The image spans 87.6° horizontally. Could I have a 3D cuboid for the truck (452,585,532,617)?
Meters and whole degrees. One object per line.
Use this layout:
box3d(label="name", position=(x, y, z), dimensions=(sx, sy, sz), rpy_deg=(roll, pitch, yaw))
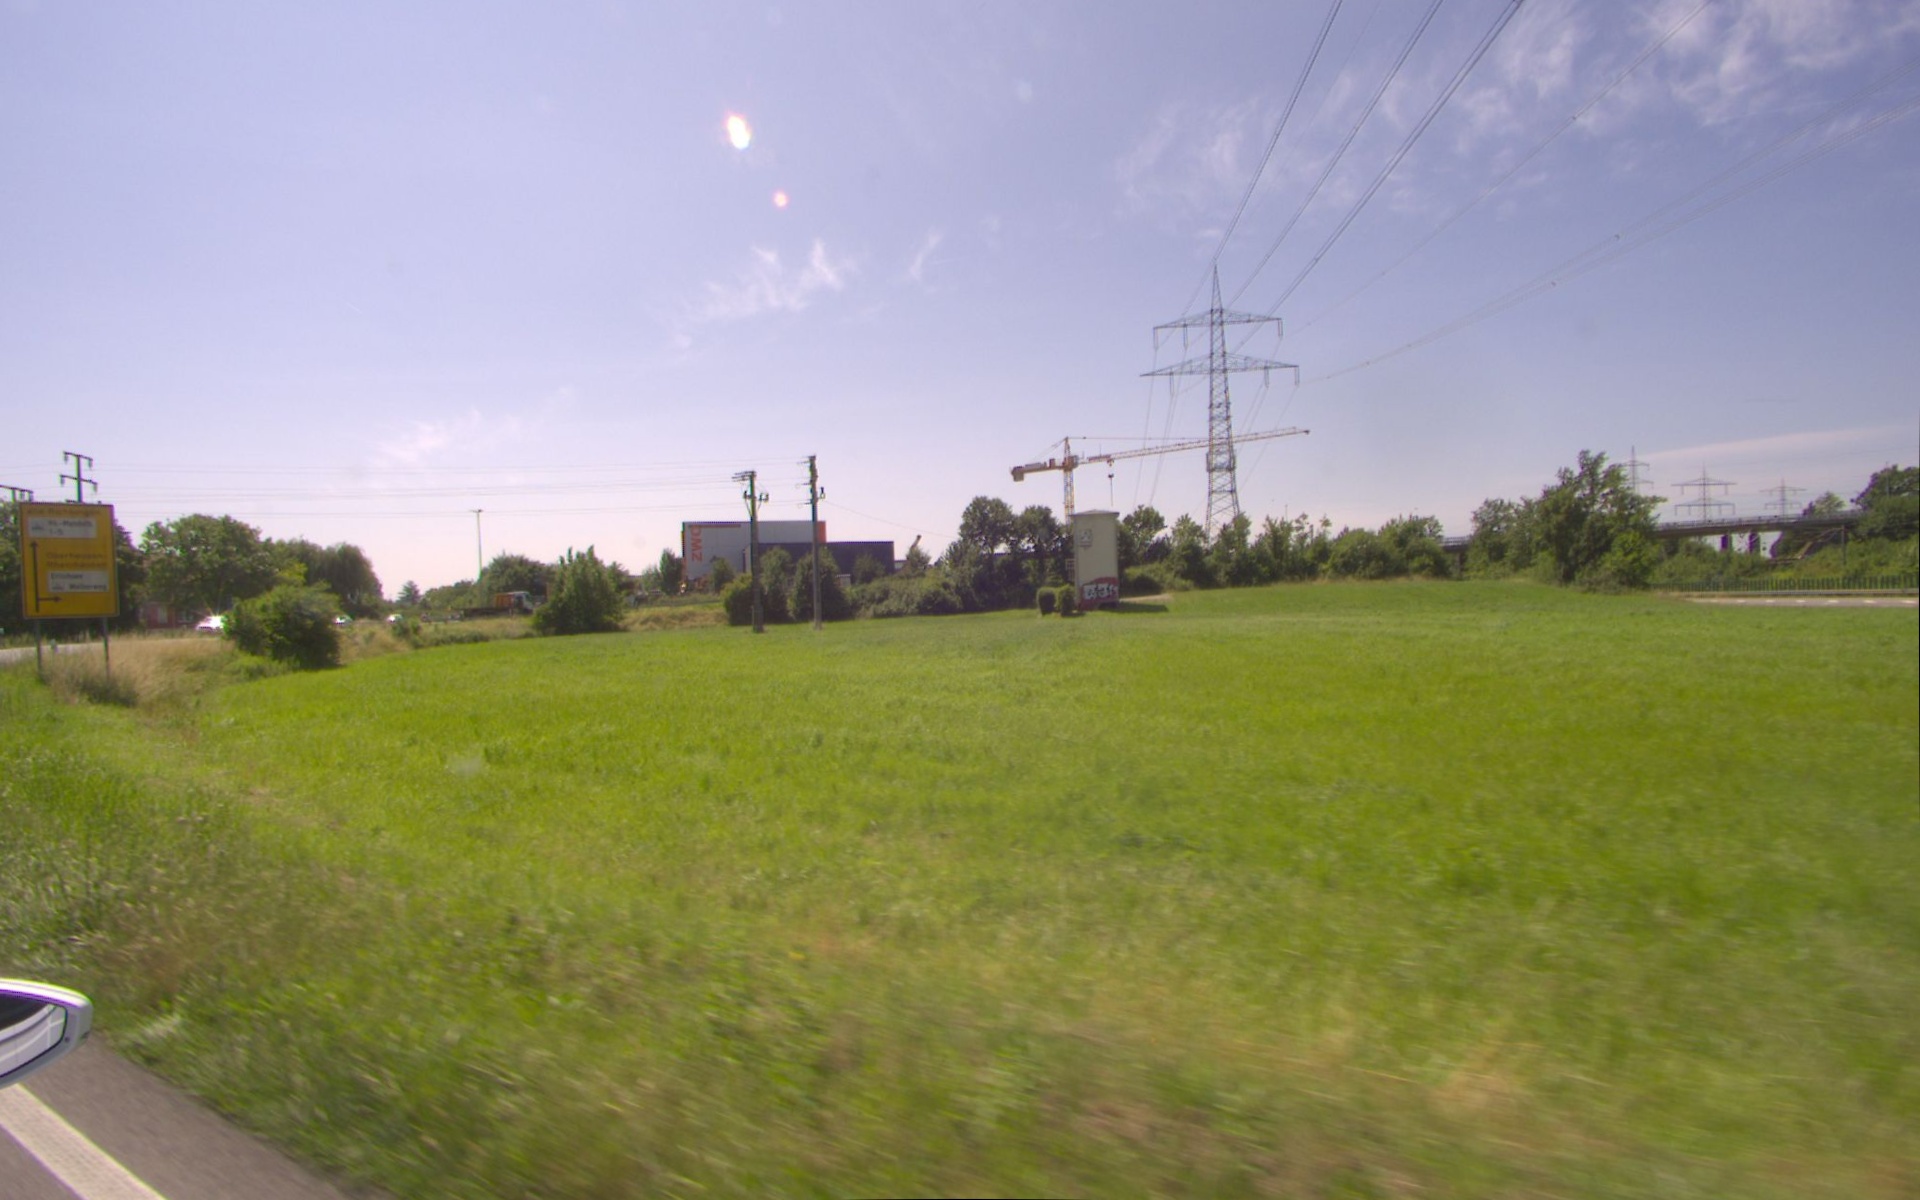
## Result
box3d(label="truck", position=(-50.603, 0.172, 108.538), dimensions=(3.051, 3.176, 8.799), rpy_deg=(-1, -2, 13))

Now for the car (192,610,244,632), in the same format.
box3d(label="car", position=(-56.368, 1.576, 76.153), dimensions=(1.829, 1.622, 4.766), rpy_deg=(1, -1, -19))
